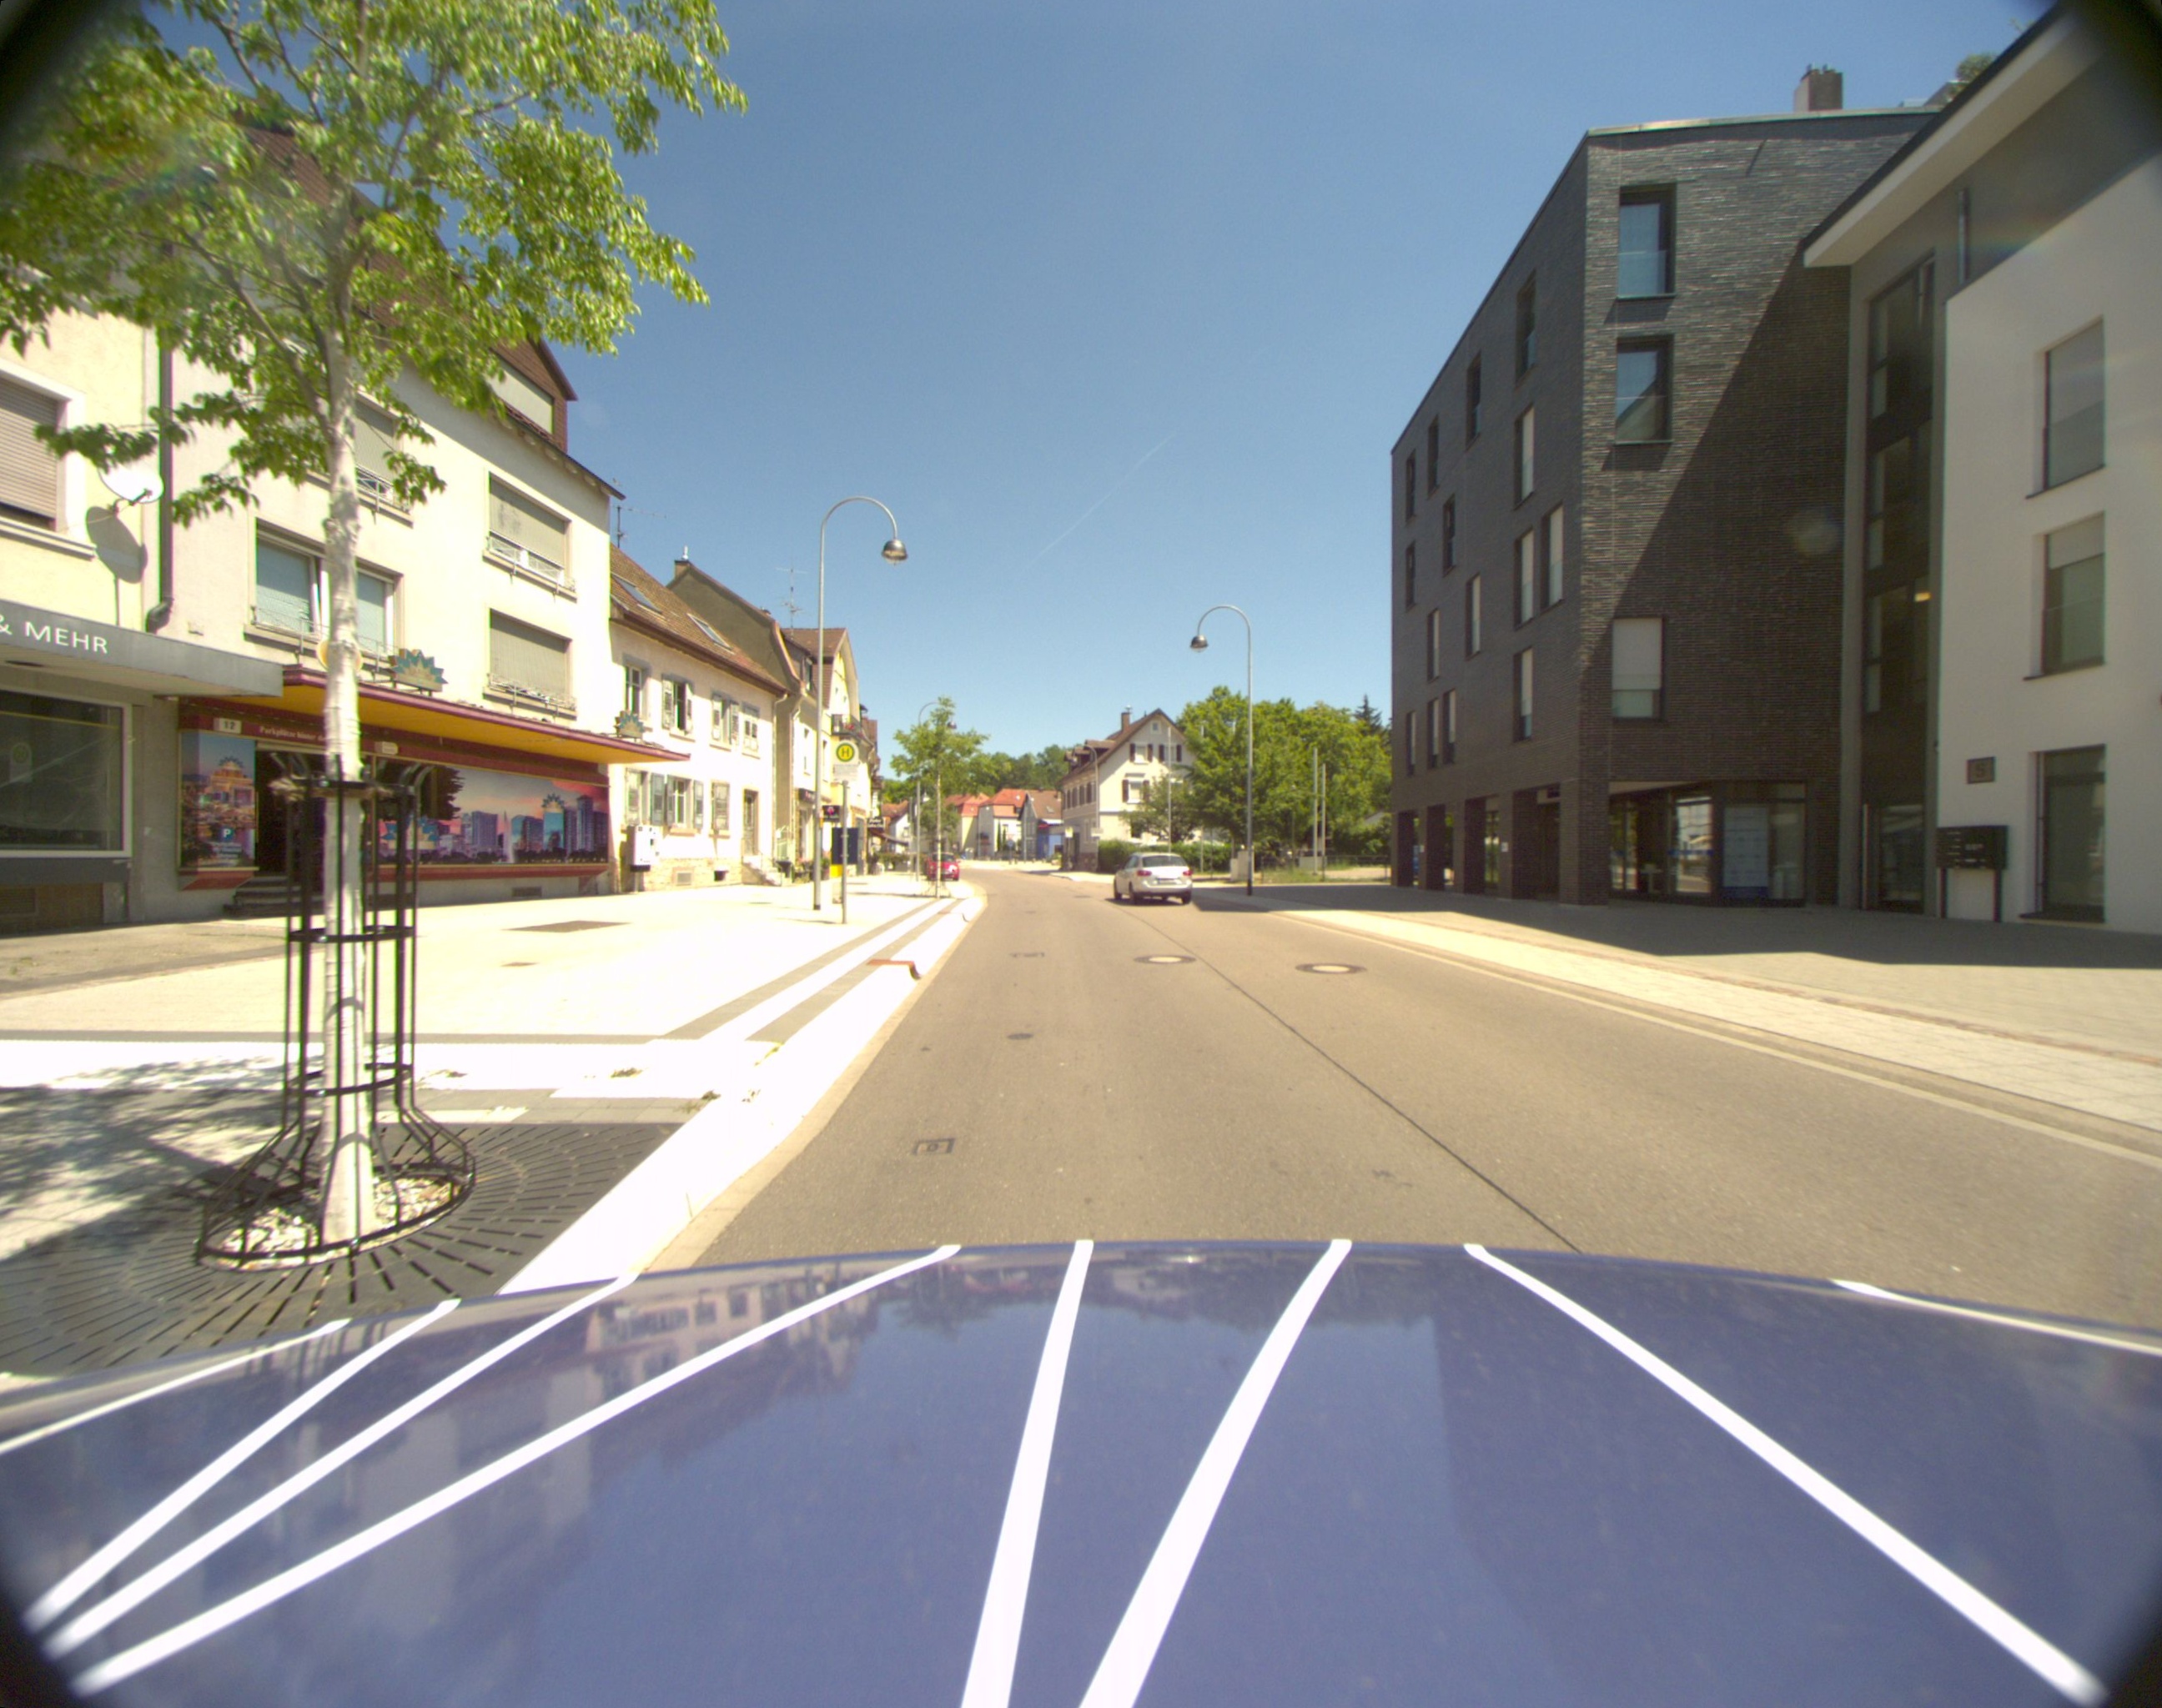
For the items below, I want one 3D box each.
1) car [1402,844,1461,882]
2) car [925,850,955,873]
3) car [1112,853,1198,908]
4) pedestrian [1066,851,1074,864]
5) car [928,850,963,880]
[{"bbox_3d":[14.868,0.320,32.431,1.696,1.477,4.085,2,1,16],"label":"car"},{"bbox_3d":[-9.849,0.513,52.995,1.736,1.464,4.317,2,0,-14],"label":"car"},{"bbox_3d":[2.027,0.691,21.926,1.672,1.388,3.845,-1,0,-7],"label":"car"},{"bbox_3d":[-0.909,0.257,62.692,0.598,1.053,0.566,-1,1,-16],"label":"pedestrian"},{"bbox_3d":[-7.113,0.567,40.145,1.685,1.505,3.383,1,0,-9],"label":"car"}]
